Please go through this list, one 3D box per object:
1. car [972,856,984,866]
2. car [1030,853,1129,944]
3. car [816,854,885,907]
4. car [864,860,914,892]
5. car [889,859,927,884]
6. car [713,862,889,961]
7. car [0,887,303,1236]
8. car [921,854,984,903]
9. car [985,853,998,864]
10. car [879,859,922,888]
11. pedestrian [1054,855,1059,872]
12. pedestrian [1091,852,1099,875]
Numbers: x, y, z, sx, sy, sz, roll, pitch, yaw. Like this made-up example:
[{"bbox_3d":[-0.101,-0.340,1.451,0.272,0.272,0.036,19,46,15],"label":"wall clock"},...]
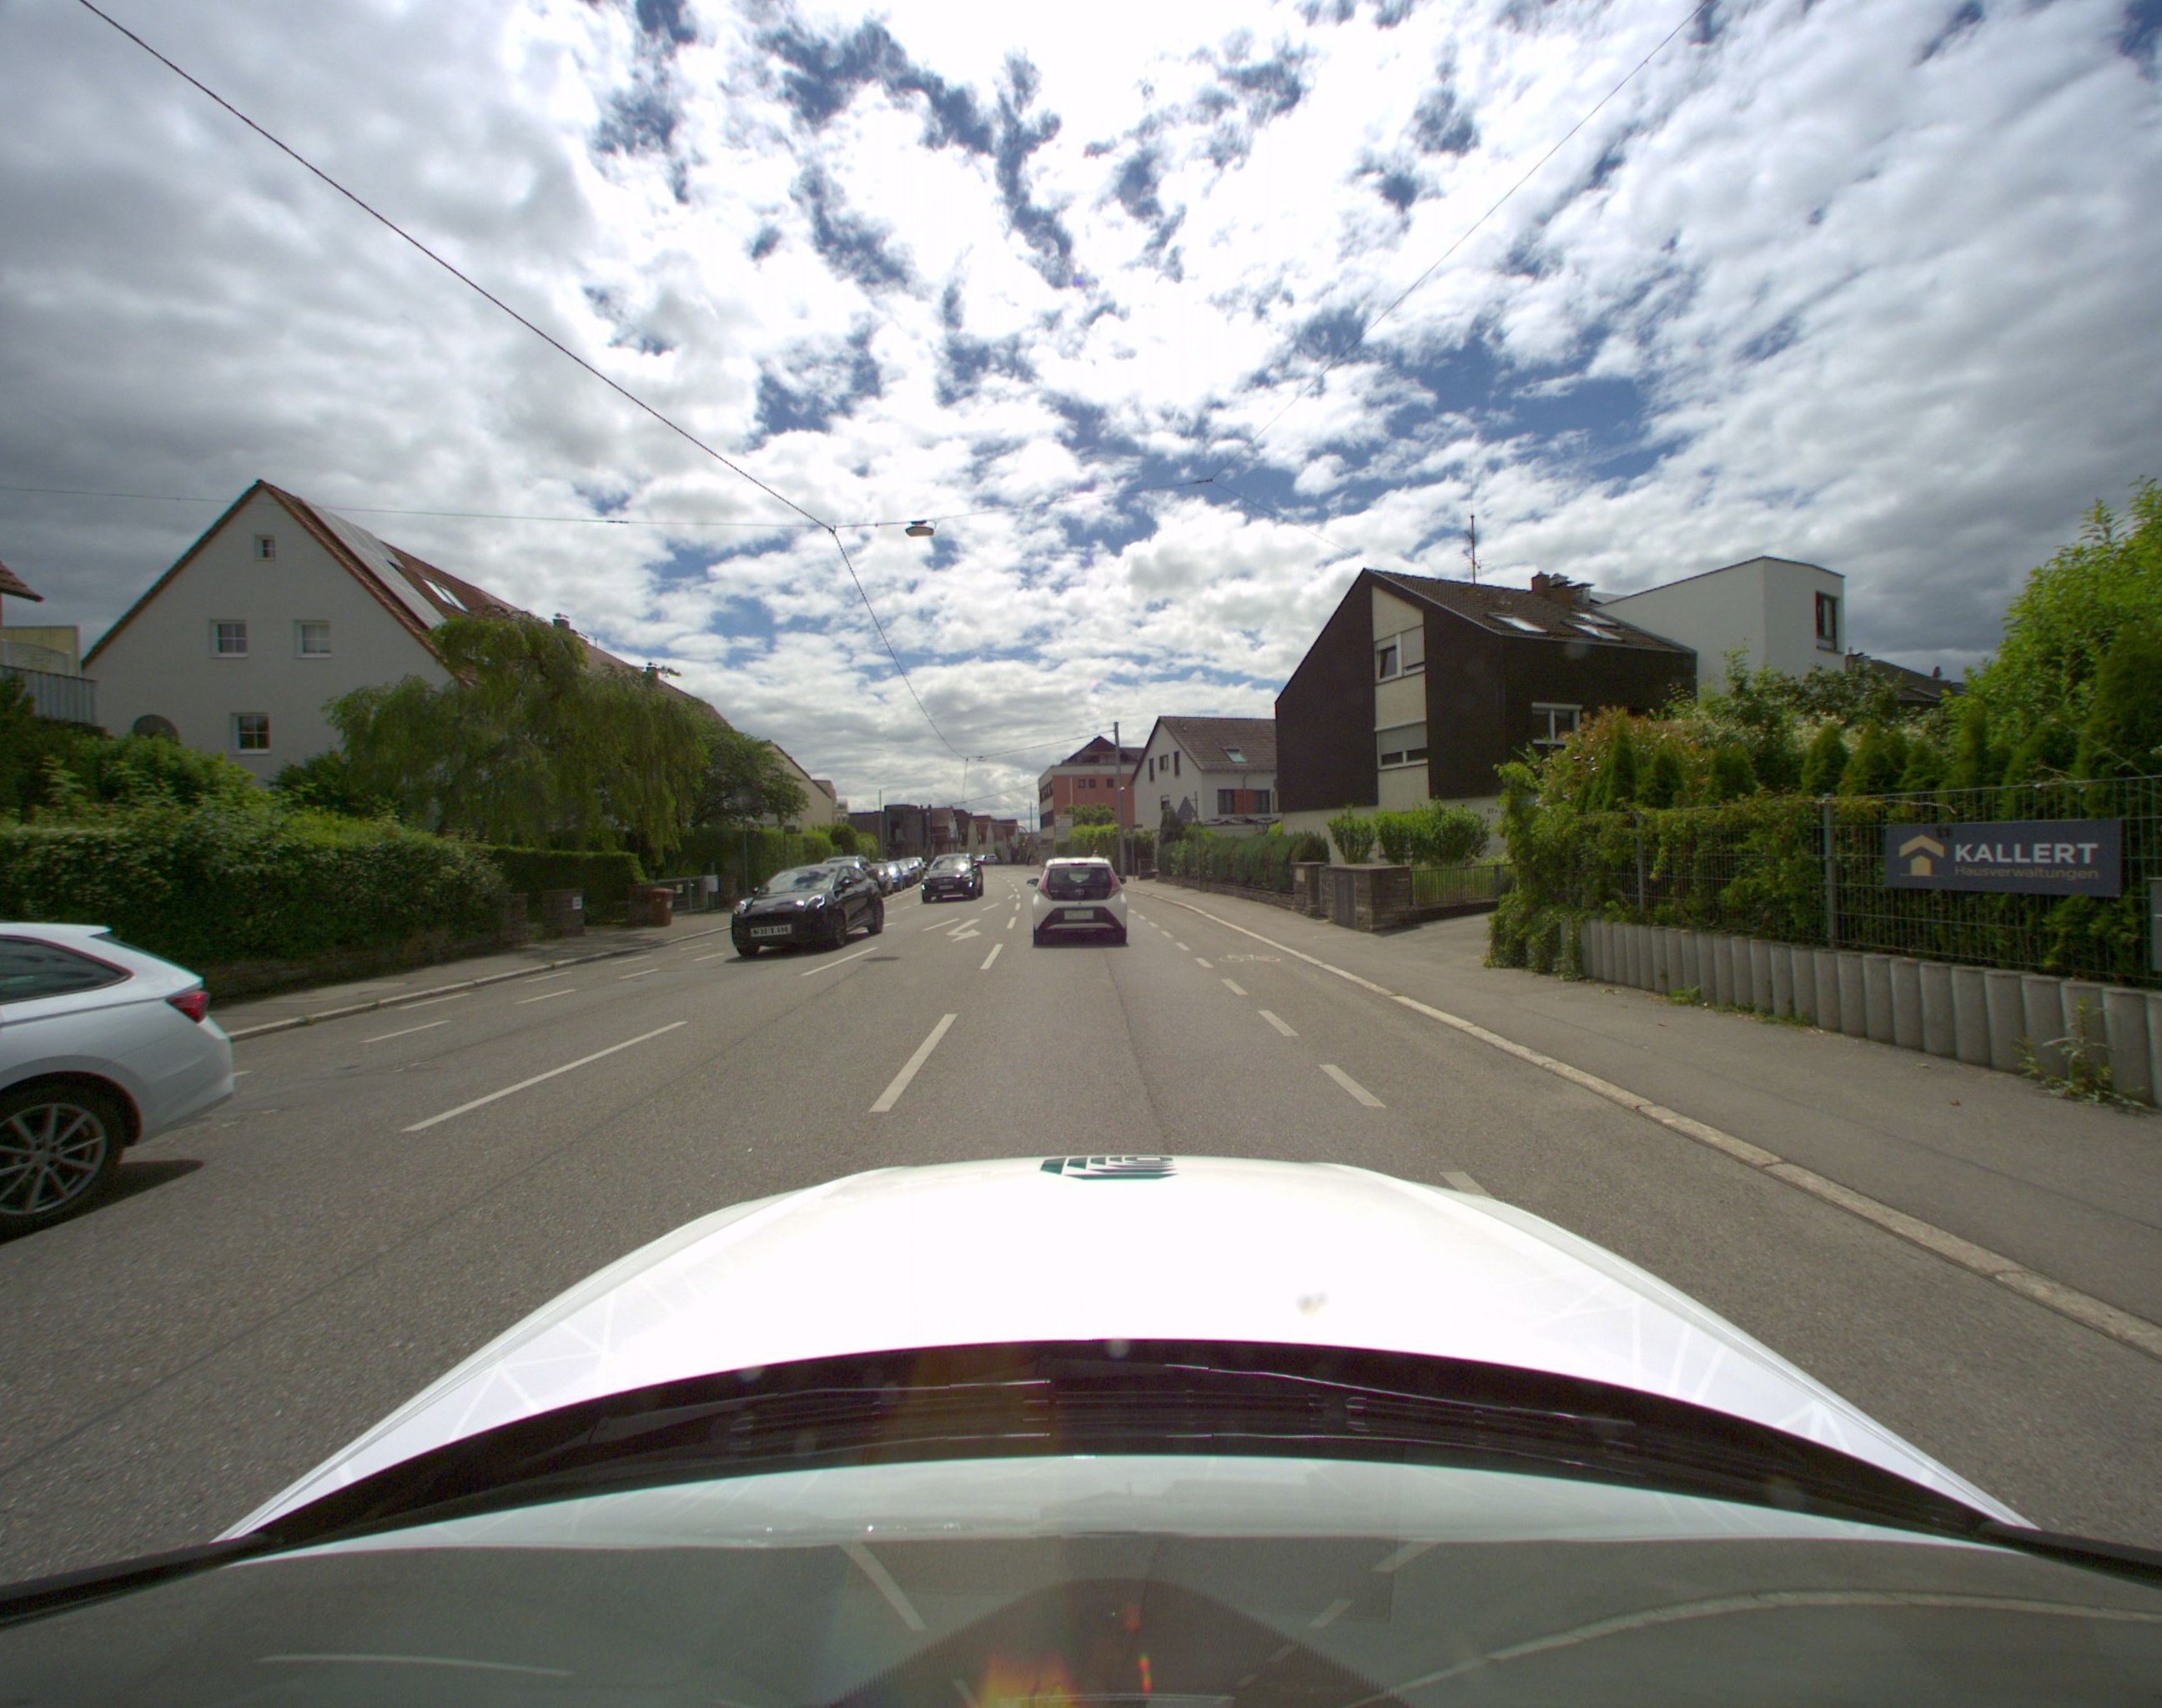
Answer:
[{"bbox_3d":[-17.713,1.253,140.074,1.991,1.684,3.992,0,0,-5],"label":"car"},{"bbox_3d":[-0.122,0.743,15.428,1.617,1.486,3.995,-1,0,-3],"label":"car"},{"bbox_3d":[-8.929,0.986,31.884,1.772,1.846,4.002,-3,0,-5],"label":"car"},{"bbox_3d":[-9.744,1.087,41.512,1.790,1.510,3.995,0,0,-3],"label":"car"},{"bbox_3d":[-10.988,1.068,52.013,1.791,1.510,3.994,0,0,-4],"label":"car"},{"bbox_3d":[-5.063,0.959,15.360,1.769,1.430,4.009,-5,0,1],"label":"car"},{"bbox_3d":[-5.527,0.979,2.506,1.769,1.430,4.522,-5,0,1],"label":"car"},{"bbox_3d":[-4.609,0.829,29.688,1.771,1.552,4.004,-3,0,-3],"label":"car"},{"bbox_3d":[-13.700,0.712,124.700,1.992,1.684,3.990,0,0,-7],"label":"car"},{"bbox_3d":[-10.282,1.076,46.602,1.791,1.510,3.994,0,0,-4],"label":"car"},{"bbox_3d":[-2.006,0.776,66.727,0.412,1.438,0.437,-1,0,-6],"label":"pedestrian"},{"bbox_3d":[0.870,0.602,51.762,0.413,1.438,0.436,-1,0,-10],"label":"pedestrian"}]
